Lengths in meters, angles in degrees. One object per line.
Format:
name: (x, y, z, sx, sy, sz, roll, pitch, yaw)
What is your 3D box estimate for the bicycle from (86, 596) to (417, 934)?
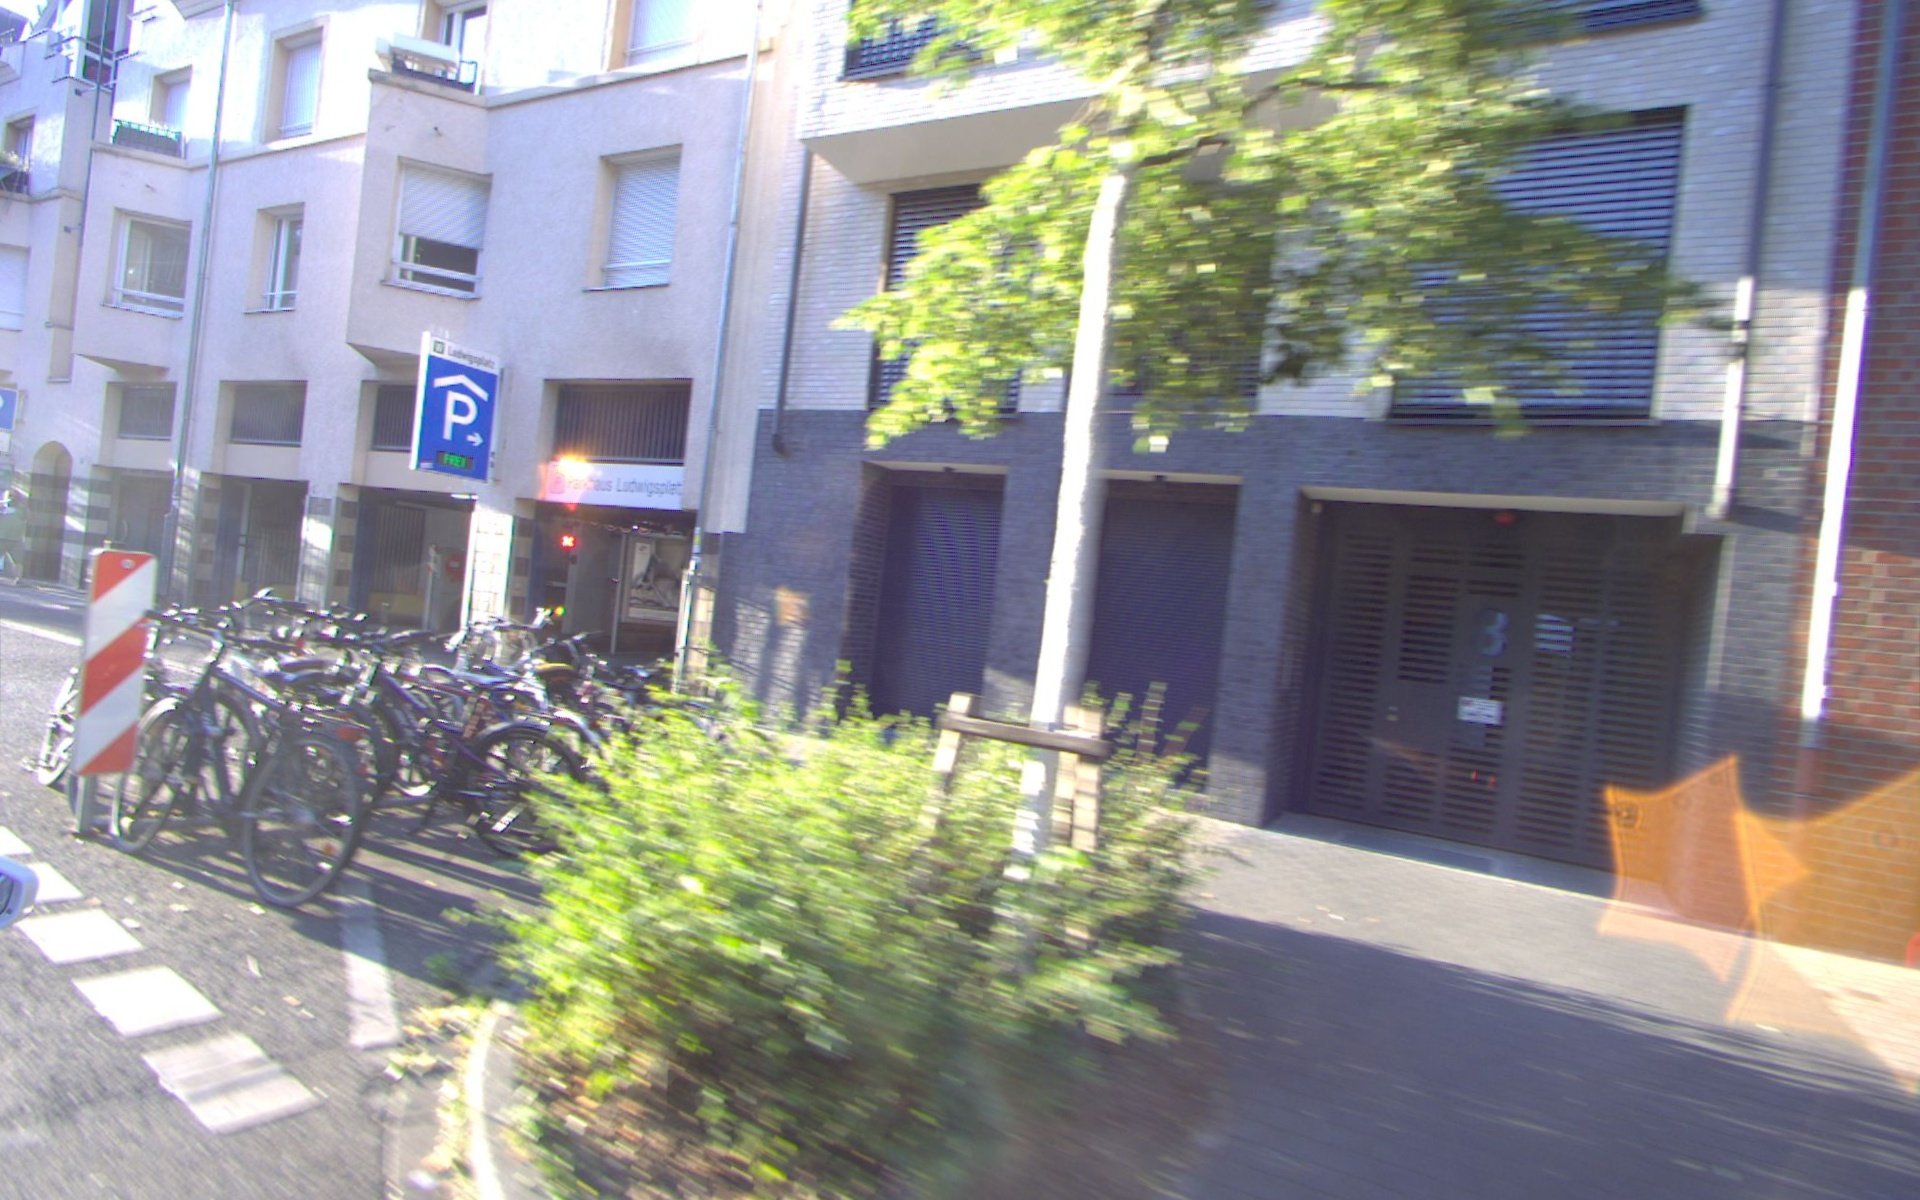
bicycle: (-3.017, 0.626, 4.246, 1.496, 1.114, 0.382, 7, 1, 26)

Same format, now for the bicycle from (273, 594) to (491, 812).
bicycle: (-3.667, 0.604, 6.340, 1.539, 1.114, 0.382, 7, 1, 30)

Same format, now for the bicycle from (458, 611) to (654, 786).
bicycle: (-3.101, 0.718, 7.683, 1.496, 1.114, 0.382, 6, 0, 25)

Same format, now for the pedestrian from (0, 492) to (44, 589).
pedestrian: (-17.010, -1.077, 17.946, 0.596, 1.668, 0.810, 6, 1, 35)

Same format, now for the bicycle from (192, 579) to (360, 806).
bicycle: (-4.124, 0.504, 6.021, 1.501, 1.121, 0.370, 6, 0, 41)

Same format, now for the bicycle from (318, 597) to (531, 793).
bicycle: (-3.699, 0.621, 6.922, 1.496, 1.113, 0.383, 6, 0, 26)

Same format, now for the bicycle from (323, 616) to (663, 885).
bicycle: (-2.349, 0.726, 5.091, 1.494, 1.114, 0.383, 7, 1, 8)

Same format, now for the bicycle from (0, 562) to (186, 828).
bicycle: (-4.586, 0.437, 5.269, 1.542, 1.155, 0.362, 6, 0, 37)

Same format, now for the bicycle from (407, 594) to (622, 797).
bicycle: (-3.171, 0.641, 7.126, 1.496, 1.203, 0.383, 6, -1, 25)

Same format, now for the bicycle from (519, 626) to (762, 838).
bicycle: (-2.081, 0.813, 6.504, 1.495, 1.114, 0.383, 7, 1, 22)

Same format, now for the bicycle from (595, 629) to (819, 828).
bicycle: (-1.766, 0.850, 6.966, 1.496, 1.114, 0.382, 7, 1, 25)

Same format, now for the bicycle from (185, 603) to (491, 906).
bicycle: (-2.915, 0.656, 4.674, 1.496, 1.114, 0.382, 7, 1, 26)
